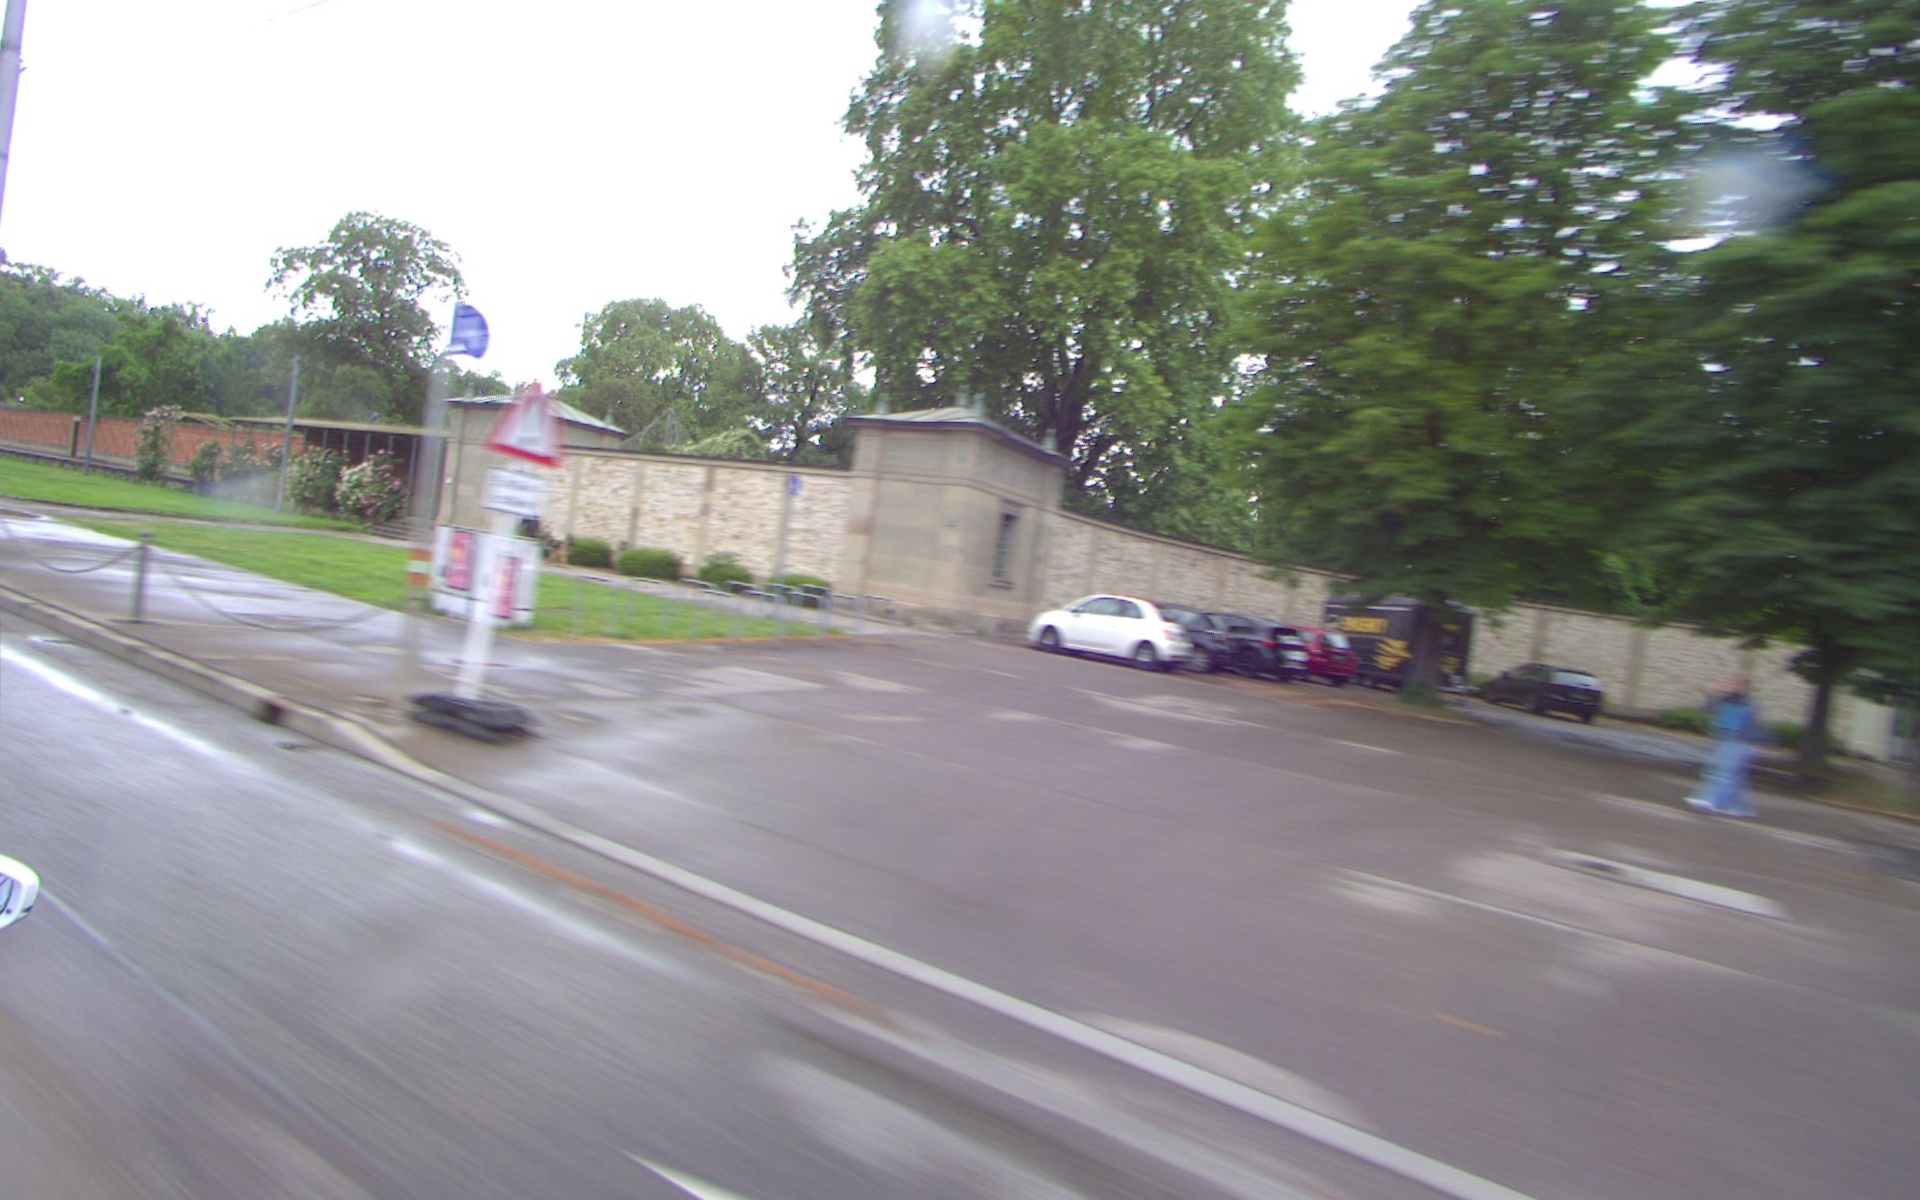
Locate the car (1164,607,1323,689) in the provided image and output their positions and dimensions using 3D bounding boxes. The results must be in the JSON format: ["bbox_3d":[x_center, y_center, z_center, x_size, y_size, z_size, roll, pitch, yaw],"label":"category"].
[{"bbox_3d":[7.432,1.222,26.806,1.753,1.547,4.077,8,1,-23],"label":"car"}]

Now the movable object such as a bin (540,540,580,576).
[{"bbox_3d":[-11.231,-1.184,28.240,1.172,0.883,0.342,8,2,33],"label":"movable object such as a bin"}]

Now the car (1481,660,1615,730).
[{"bbox_3d":[17.386,2.754,30.014,1.709,1.425,4.278,8,1,7],"label":"car"}]

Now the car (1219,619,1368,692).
[{"bbox_3d":[9.620,1.571,29.375,1.660,1.460,4.127,8,1,-23],"label":"car"}]

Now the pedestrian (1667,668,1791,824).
[{"bbox_3d":[8.676,1.638,11.361,0.856,1.612,0.662,6,3,-32],"label":"pedestrian"}]

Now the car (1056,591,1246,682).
[{"bbox_3d":[4.634,0.853,24.351,4.111,1.508,1.899,9,2,21],"label":"car"}]

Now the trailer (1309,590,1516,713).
[{"bbox_3d":[13.196,1.398,29.889,2.116,2.821,5.631,8,1,-17],"label":"trailer"}]

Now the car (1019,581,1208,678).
[{"bbox_3d":[3.376,0.643,22.282,3.537,1.473,1.838,11,3,32],"label":"car"}]

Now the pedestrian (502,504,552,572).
[{"bbox_3d":[-12.116,-1.738,28.144,0.965,1.732,0.729,8,2,33],"label":"pedestrian"}]
